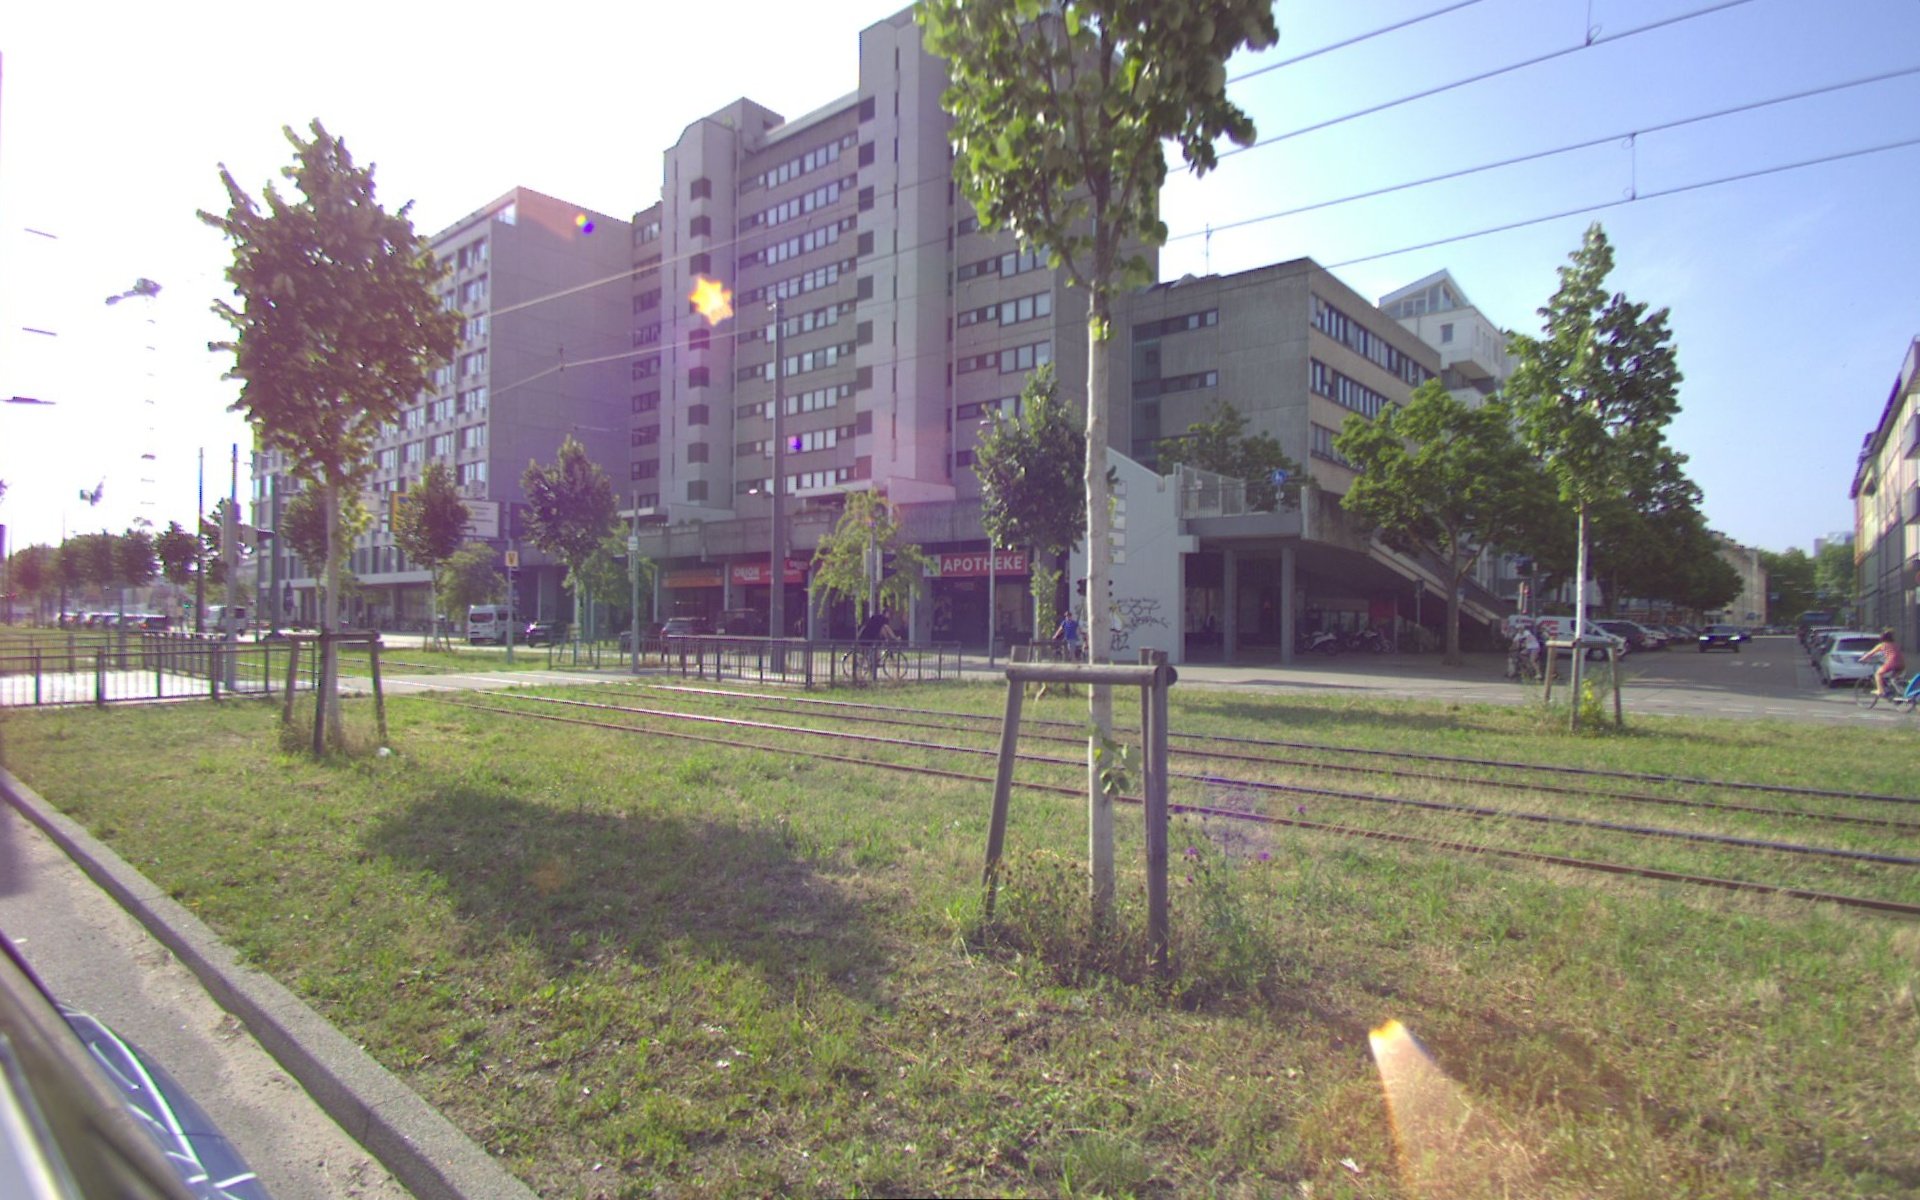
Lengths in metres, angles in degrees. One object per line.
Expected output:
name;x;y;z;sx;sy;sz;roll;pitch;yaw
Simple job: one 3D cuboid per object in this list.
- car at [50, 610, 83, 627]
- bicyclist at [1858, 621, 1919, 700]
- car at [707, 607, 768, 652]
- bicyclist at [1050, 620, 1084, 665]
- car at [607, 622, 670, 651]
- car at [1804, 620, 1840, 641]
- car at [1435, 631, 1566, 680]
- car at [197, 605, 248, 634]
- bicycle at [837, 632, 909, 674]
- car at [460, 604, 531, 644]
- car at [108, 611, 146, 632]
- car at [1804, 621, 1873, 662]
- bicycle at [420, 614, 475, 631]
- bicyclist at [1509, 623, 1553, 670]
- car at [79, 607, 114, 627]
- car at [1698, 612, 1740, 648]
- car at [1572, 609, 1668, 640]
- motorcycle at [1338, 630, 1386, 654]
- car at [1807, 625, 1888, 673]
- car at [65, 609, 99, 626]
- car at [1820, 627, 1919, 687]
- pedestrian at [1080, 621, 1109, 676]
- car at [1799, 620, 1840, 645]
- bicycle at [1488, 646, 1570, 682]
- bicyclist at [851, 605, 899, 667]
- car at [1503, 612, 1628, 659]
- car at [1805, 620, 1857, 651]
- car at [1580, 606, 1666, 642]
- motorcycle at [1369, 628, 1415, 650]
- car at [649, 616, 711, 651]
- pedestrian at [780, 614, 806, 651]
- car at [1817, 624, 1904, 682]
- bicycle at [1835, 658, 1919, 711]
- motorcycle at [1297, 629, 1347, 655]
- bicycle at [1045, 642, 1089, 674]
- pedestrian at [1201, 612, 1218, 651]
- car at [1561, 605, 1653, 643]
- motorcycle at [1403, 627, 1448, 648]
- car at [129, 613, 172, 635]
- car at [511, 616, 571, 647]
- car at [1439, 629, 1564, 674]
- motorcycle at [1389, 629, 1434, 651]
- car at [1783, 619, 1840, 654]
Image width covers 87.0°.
car;-82.435;1.687;93.344;3.998;1.536;1.764;0;-1;41
bicyclist;19.943;1.271;21.524;0.881;1.641;0.891;0;-1;5
car;-10.352;1.345;47.351;1.853;1.983;4.110;0;-1;1
bicyclist;3.570;1.405;33.765;0.685;1.451;1.011;-1;-1;40
car;-16.219;1.804;51.294;1.853;1.253;4.110;-1;1;1
car;69.300;2.437;81.400;1.812;1.616;3.904;0;-1;36
car;21.534;2.163;40.360;4.374;1.640;1.891;0;1;38
car;-58.261;1.517;79.947;5.330;2.255;2.025;0;-1;40
bicycle;-2.055;1.266;24.009;1.585;0.942;0.559;4;-4;-29
car;-28.431;1.439;62.202;1.858;2.326;5.408;0;-1;0
car;-62.358;1.604;75.751;3.641;1.498;1.722;0;-1;43
car;37.056;1.724;42.780;1.812;1.616;3.904;0;-1;36
bicycle;-42.440;1.827;83.880;3.937;1.377;1.128;1;-1;-40
bicyclist;17.047;1.389;30.230;0.898;1.396;0.705;1;-3;-17
car;-71.293;1.411;83.550;4.000;1.586;1.788;0;-1;43
car;44.010;1.722;58.641;1.810;2.029;3.947;-1;-1;39
car;40.573;1.468;62.284;4.768;1.833;1.973;0;-1;41
motorcycle;17.922;1.882;45.160;1.945;1.025;0.488;-1;-1;41
car;32.067;1.732;36.668;1.812;1.616;3.905;0;-1;35
car;-76.987;1.525;88.711;4.000;1.486;1.788;0;-1;43
car;26.150;1.605;29.196;1.706;1.596;3.589;-3;-3;37
pedestrian;4.224;1.503;31.882;0.646;1.703;0.651;-1;-1;43
car;58.351;2.175;68.769;1.812;1.616;3.904;0;-1;36
bicycle;16.986;1.894;30.206;2.306;1.007;0.710;1;-1;-17
bicyclist;-2.027;0.867;24.044;0.957;1.406;0.548;4;-4;-29
car;28.419;1.624;47.582;4.830;1.983;1.973;1;-1;41
car;48.245;1.924;56.108;1.812;1.616;3.904;0;-1;36
car;38.499;1.376;58.793;3.998;2.029;1.973;0;-1;41
motorcycle;20.490;1.839;48.055;1.945;1.025;0.488;-1;-1;41
car;-13.492;1.599;48.981;1.853;1.618;4.110;0;-1;1
pedestrian;-7.828;1.509;47.481;1.102;1.709;0.743;0;-1;-2
car;28.828;1.649;32.497;1.771;1.701;3.752;0;-1;37
bicycle;19.895;1.762;21.100;0.889;0.972;2.992;0;-1;5
motorcycle;15.160;1.740;42.377;1.945;1.025;0.488;-1;-1;41
bicycle;3.583;1.924;33.764;0.685;0.998;1.646;-1;-1;39
pedestrian;11.613;1.447;47.135;0.622;1.790;0.693;0;-1;27
car;35.293;1.283;55.261;3.998;2.029;1.973;0;-1;41
motorcycle;23.310;1.881;50.711;1.945;1.025;0.549;-1;-1;41
car;-56.499;1.669;70.610;4.000;1.492;1.788;0;-1;43
car;-23.723;1.759;57.453;2.070;1.594;4.006;-2;0;-6
car;22.705;2.105;42.489;4.374;1.640;1.891;0;1;38
motorcycle;21.831;1.935;48.938;1.945;1.025;0.549;-1;-1;41
car;41.264;1.747;49.112;1.812;1.616;3.904;0;-1;36
